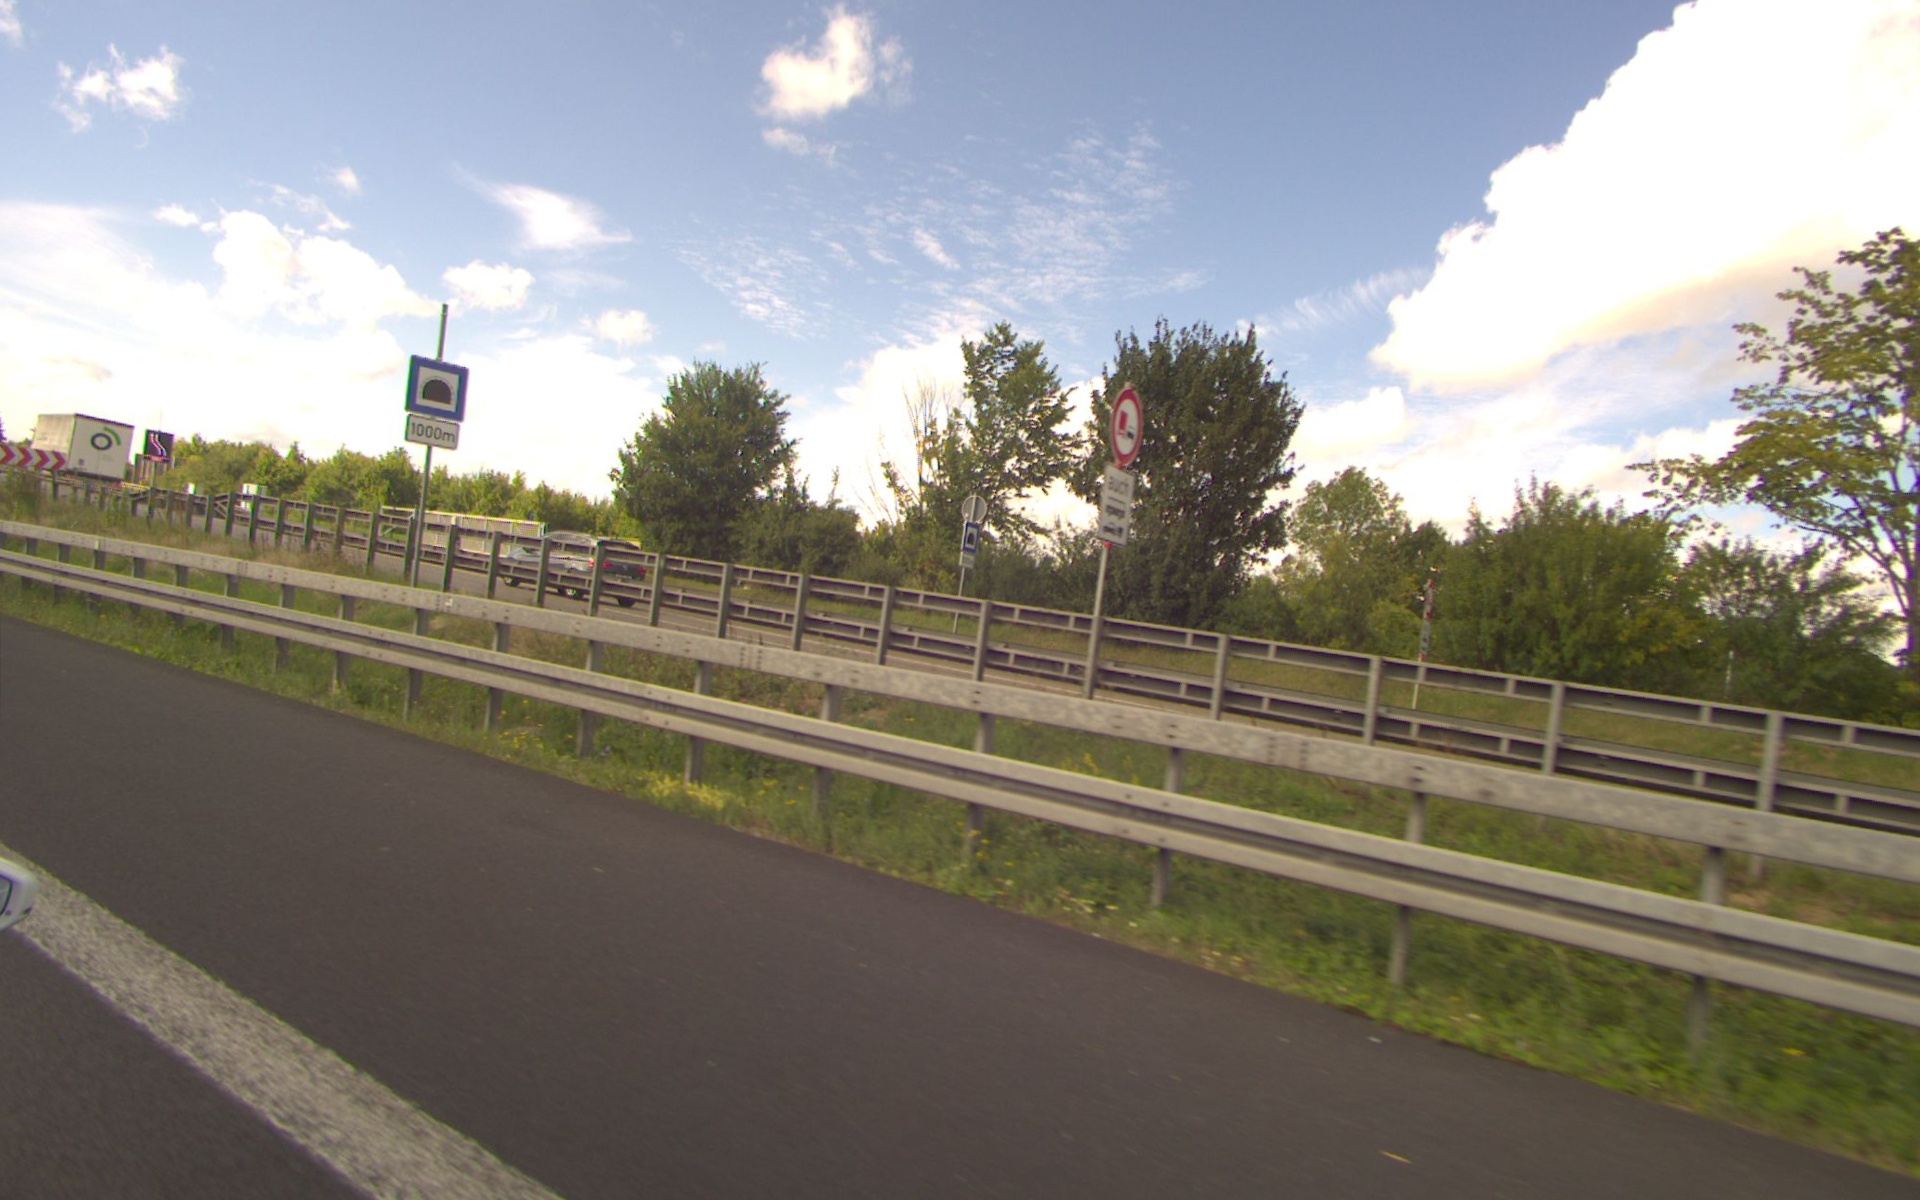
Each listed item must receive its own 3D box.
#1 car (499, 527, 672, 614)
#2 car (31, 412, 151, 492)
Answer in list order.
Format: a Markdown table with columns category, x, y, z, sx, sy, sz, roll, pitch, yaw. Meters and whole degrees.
| category | x | y | z | sx | sy | sz | roll | pitch | yaw |
| --- | --- | --- | --- | --- | --- | --- | --- | --- | --- |
| car | -9.462 | -0.753 | 25.367 | 3.934 | 1.738 | 1.995 | 7 | 1 | 31 |
| car | -49.715 | -8.408 | 57.501 | 7.434 | 3.723 | 3.574 | 7 | 1 | 37 |
